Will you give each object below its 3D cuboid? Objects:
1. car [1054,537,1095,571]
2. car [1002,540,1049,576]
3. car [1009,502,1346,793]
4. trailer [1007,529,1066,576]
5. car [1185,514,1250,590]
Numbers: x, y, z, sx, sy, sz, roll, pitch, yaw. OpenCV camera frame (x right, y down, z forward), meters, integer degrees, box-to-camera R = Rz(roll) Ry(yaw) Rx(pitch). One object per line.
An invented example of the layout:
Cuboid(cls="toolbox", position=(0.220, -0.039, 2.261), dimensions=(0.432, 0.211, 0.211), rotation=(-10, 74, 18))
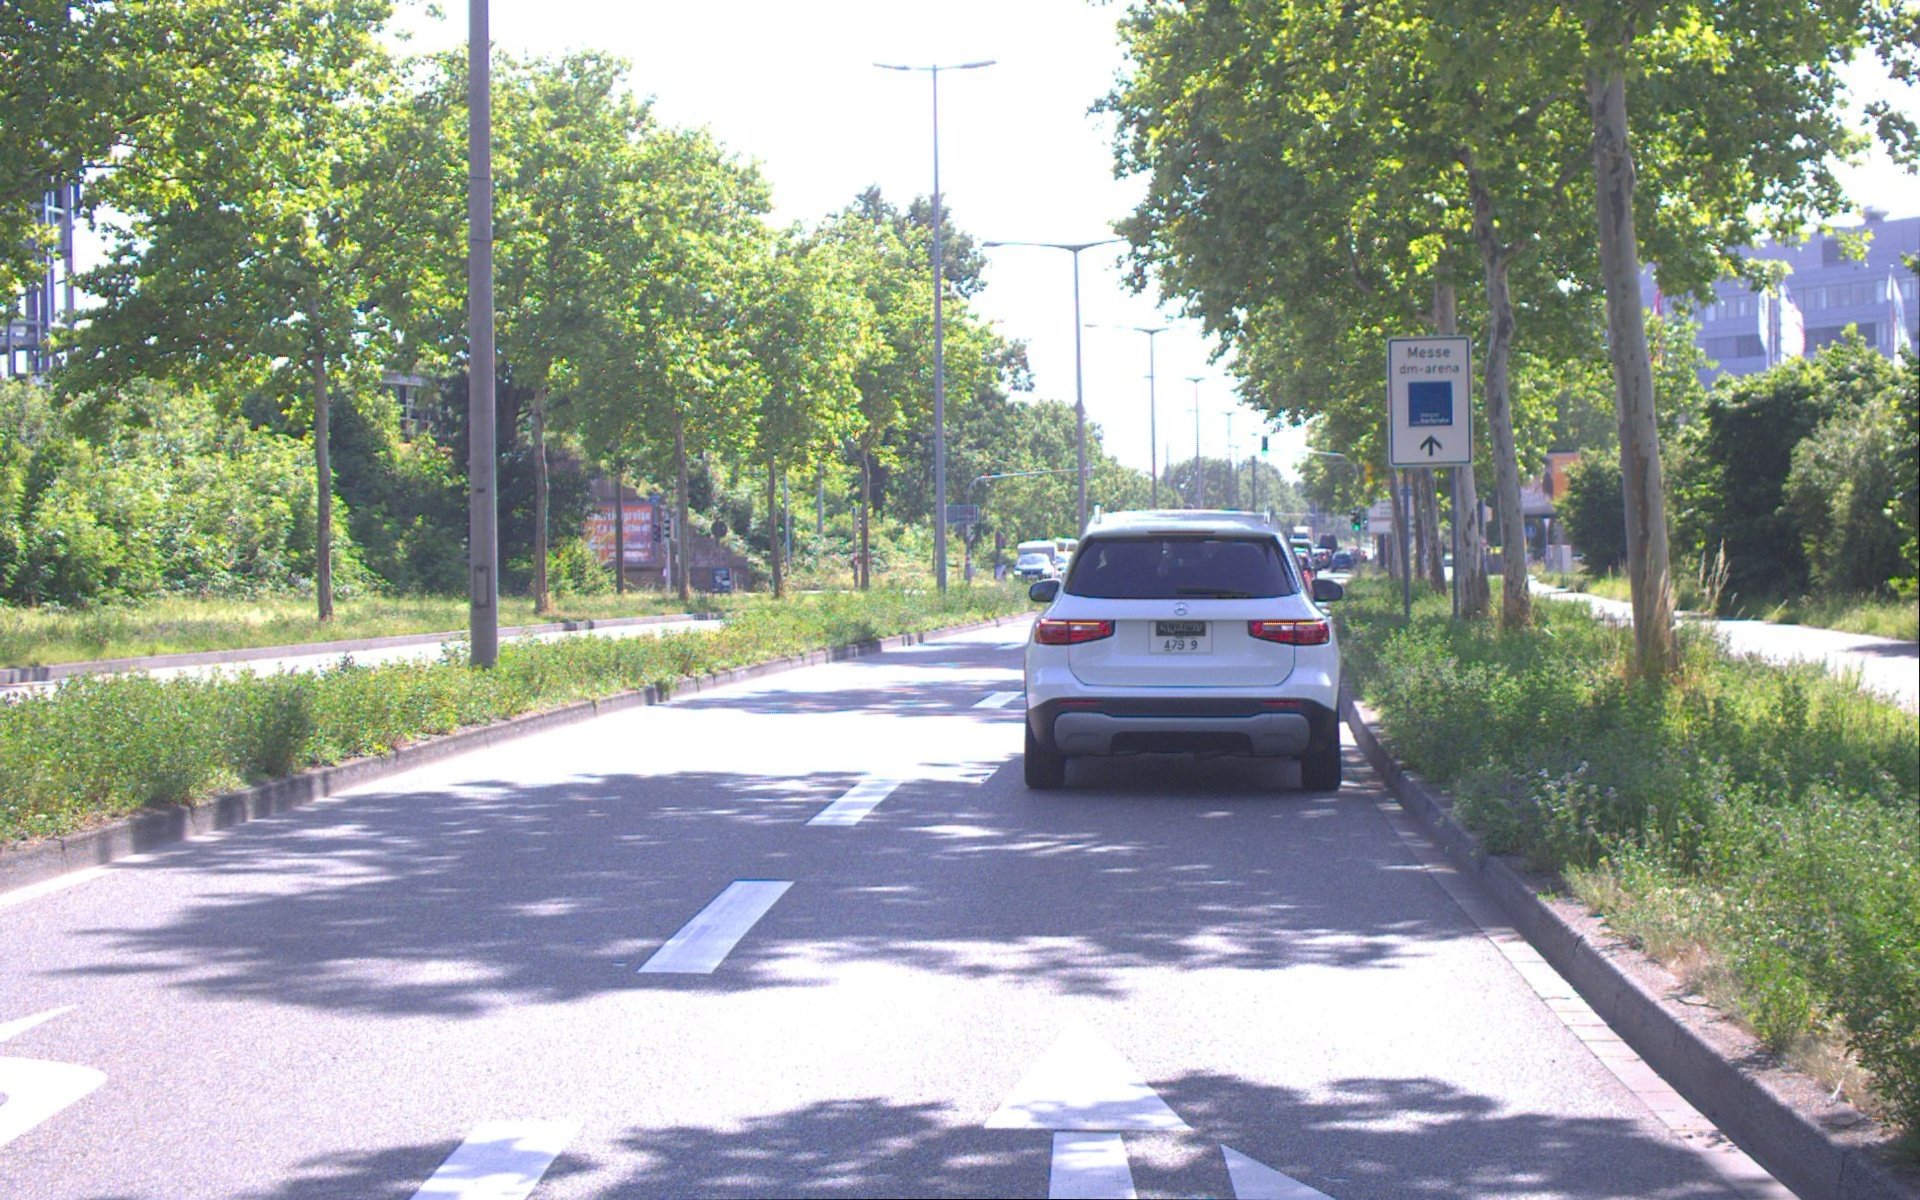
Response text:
Cuboid(cls="car", position=(6.385, -2.545, 190.534), dimensions=(1.765, 1.783, 5.374), rotation=(1, 0, 7))
Cuboid(cls="car", position=(3.088, -1.960, 161.628), dimensions=(1.716, 1.616, 4.360), rotation=(0, 0, 7))
Cuboid(cls="car", position=(1.309, 0.249, 21.128), dimensions=(1.854, 1.602, 4.000), rotation=(-1, 0, 3))
Cuboid(cls="trailer", position=(3.714, -2.283, 166.547), dimensions=(2.309, 2.257, 5.536), rotation=(0, 0, 7))
Cuboid(cls="car", position=(9.330, -1.714, 124.186), dimensions=(2.082, 2.647, 4.873), rotation=(1, 0, 7))
